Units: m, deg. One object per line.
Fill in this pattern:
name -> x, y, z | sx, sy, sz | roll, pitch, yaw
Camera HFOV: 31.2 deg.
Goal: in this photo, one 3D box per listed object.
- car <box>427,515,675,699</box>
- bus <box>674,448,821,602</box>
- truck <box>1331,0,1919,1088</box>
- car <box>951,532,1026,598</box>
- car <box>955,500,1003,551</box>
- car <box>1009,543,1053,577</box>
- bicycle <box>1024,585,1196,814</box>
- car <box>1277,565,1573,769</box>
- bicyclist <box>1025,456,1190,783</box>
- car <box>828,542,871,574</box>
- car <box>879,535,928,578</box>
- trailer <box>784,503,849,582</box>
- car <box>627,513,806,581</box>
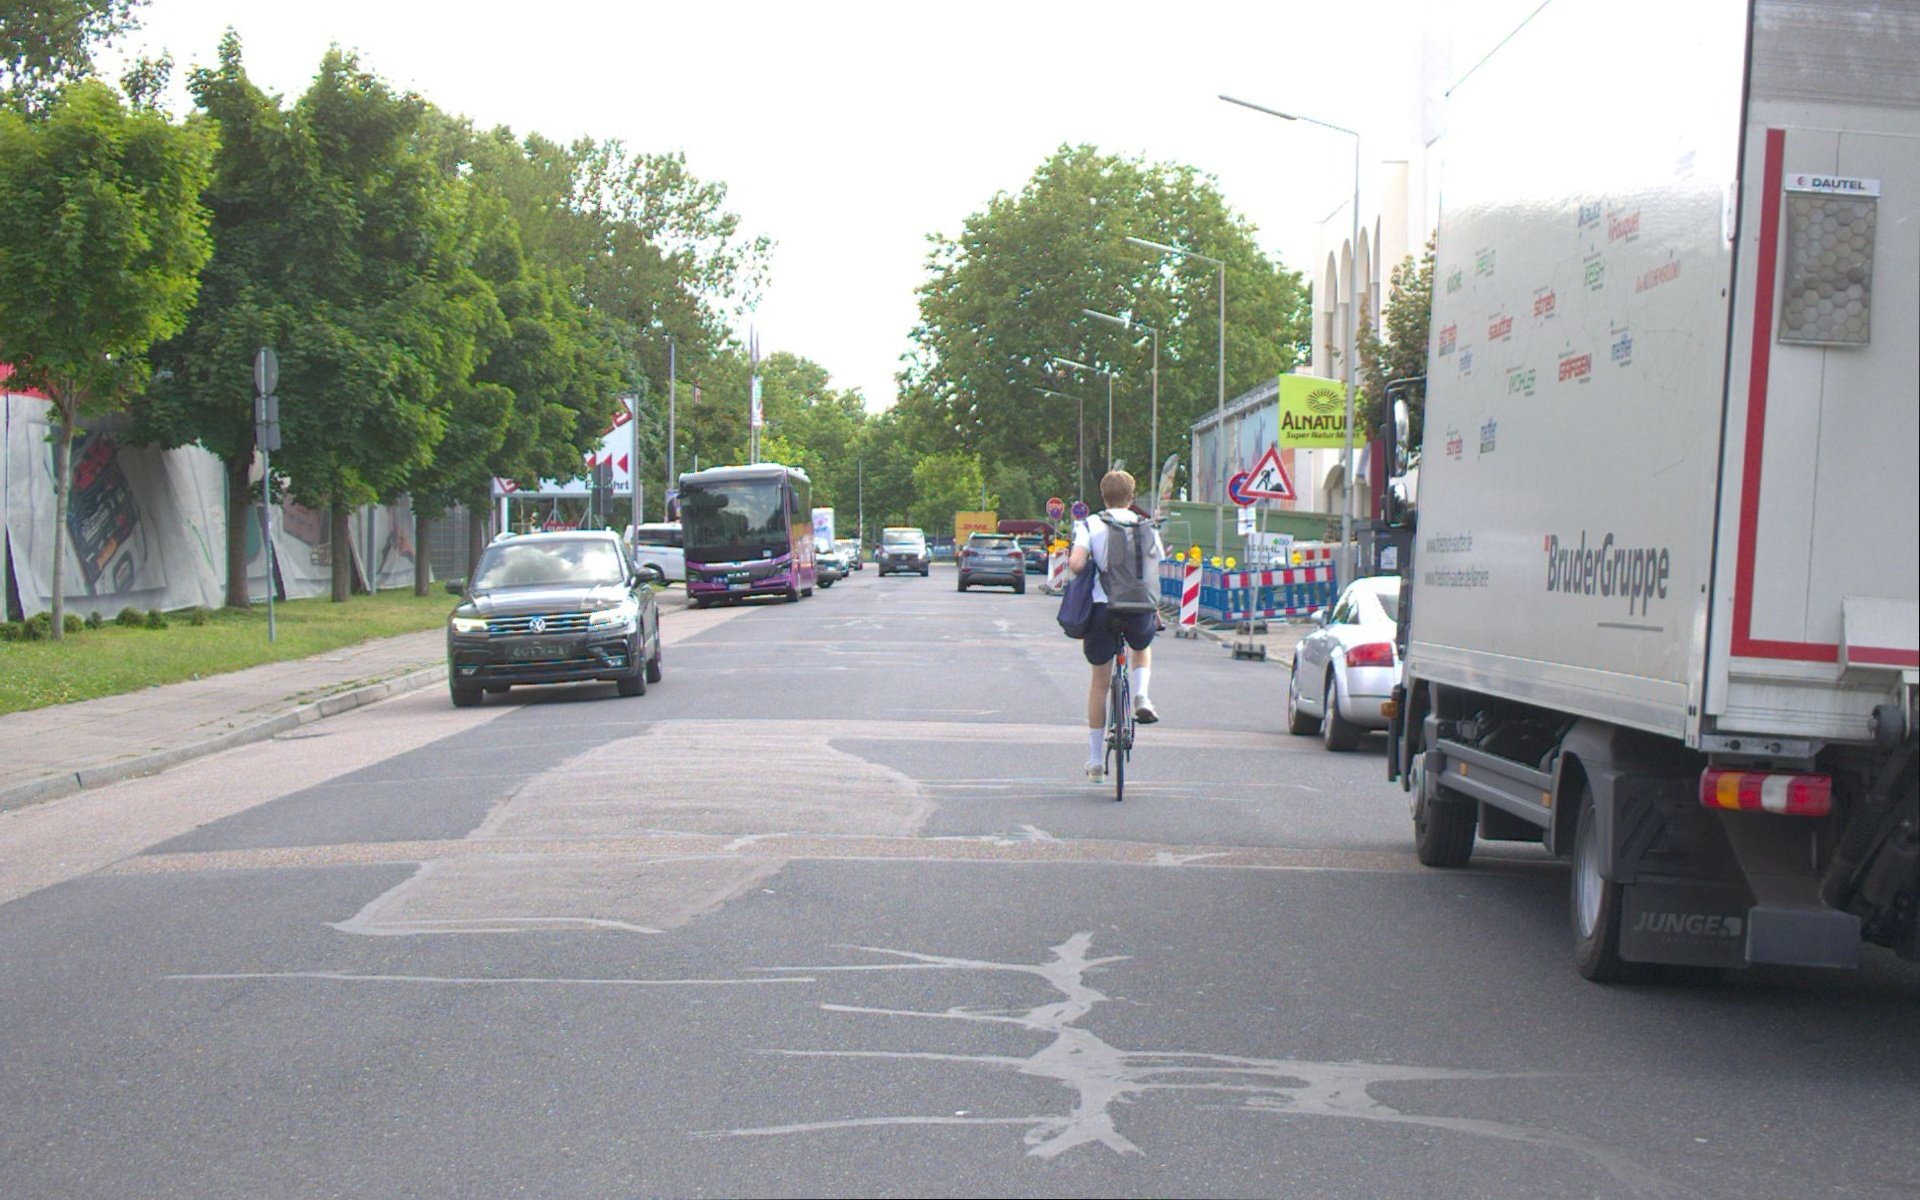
car -> -4.003, 0.025, 34.284 | 1.874, 1.614, 4.294 | -4, 1, 0
bus -> -5.175, -1.843, 85.942 | 2.663, 3.411, 13.219 | -3, 1, 0
truck -> 3.408, -0.747, 13.541 | 2.778, 4.102, 8.279 | 3, 1, 0
car -> 0.778, -0.997, 97.424 | 1.962, 1.809, 4.276 | 1, 1, -2
car -> 0.982, -3.865, 178.742 | 2.198, 2.569, 6.405 | 0, 1, -2
car -> 3.145, -1.792, 151.477 | 1.808, 1.386, 4.588 | 3, 1, 1
bicycle -> 0.827, 0.528, 19.719 | 0.798, 1.176, 2.627 | 2, 1, -1
car -> 3.569, 0.470, 27.043 | 1.661, 1.336, 3.985 | 4, 1, -1
bicyclist -> 0.832, 0.103, 19.717 | 0.806, 1.786, 1.207 | 3, 0, -1
car -> -5.169, -1.973, 161.452 | 1.709, 1.415, 4.331 | -2, 1, 2
car -> -2.193, -1.681, 133.078 | 1.868, 1.624, 4.128 | 0, 1, -1
trailer -> -5.221, -2.100, 125.858 | 2.139, 2.773, 4.703 | -2, 1, 0
car -> -7.219, -1.573, 102.135 | 5.001, 1.942, 1.992 | 1, 1, 6
